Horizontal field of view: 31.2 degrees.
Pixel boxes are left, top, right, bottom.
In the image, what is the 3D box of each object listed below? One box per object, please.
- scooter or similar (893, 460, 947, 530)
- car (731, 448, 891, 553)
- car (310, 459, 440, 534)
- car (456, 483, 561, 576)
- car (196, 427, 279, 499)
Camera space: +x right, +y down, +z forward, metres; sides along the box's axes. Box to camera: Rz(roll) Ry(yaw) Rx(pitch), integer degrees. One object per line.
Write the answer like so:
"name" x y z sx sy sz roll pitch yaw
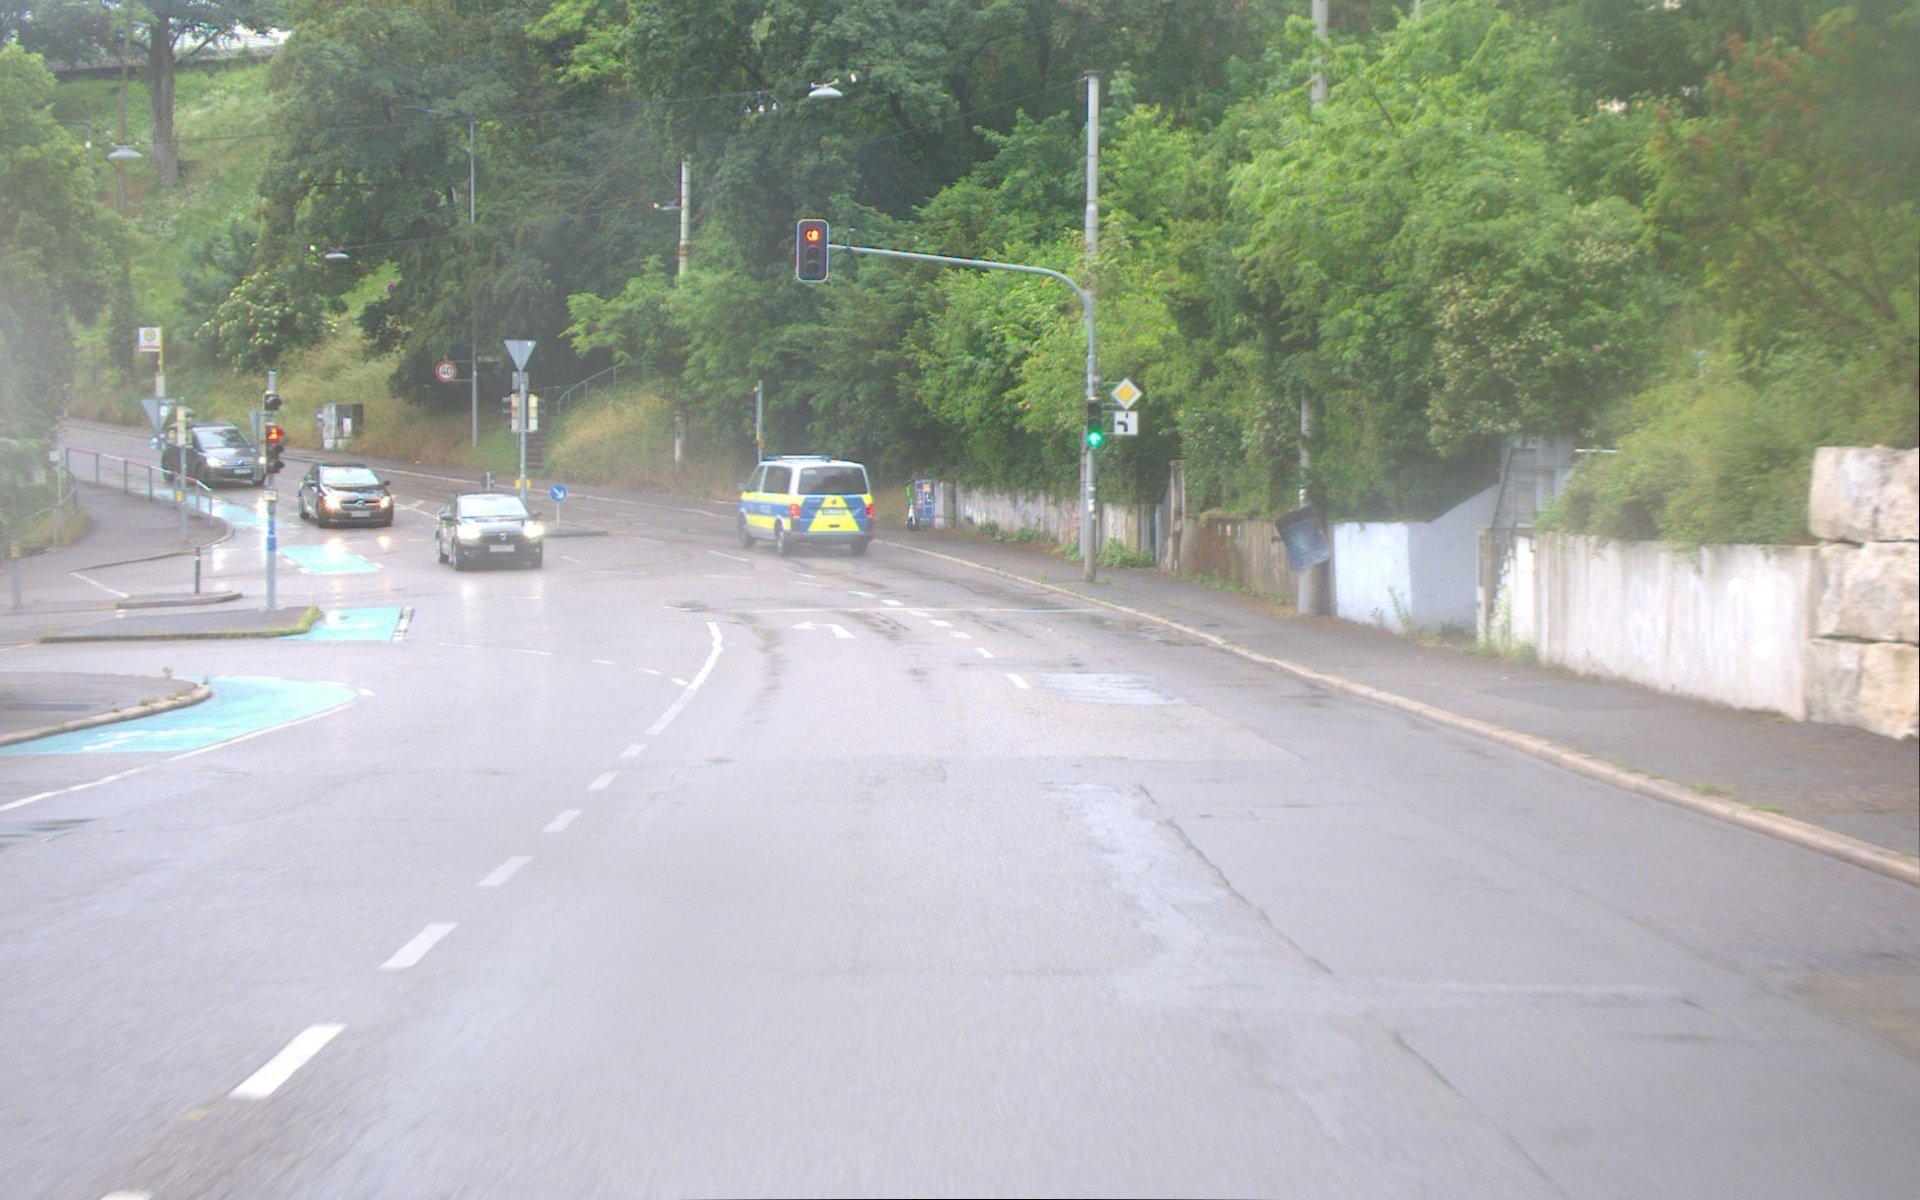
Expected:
"scooter or similar" -0.912 -2.379 77.412 0.616 1.416 2.160 -3 6 -16
"car" -3.177 -2.137 72.495 2.308 1.932 4.327 -4 4 -16
"car" -14.212 -2.539 83.690 1.742 1.544 3.999 -2 4 11
"car" -9.168 -1.448 69.544 1.741 1.544 4.002 -4 5 -11
"car" -20.163 -3.847 95.896 1.741 1.544 4.003 -4 9 -18
